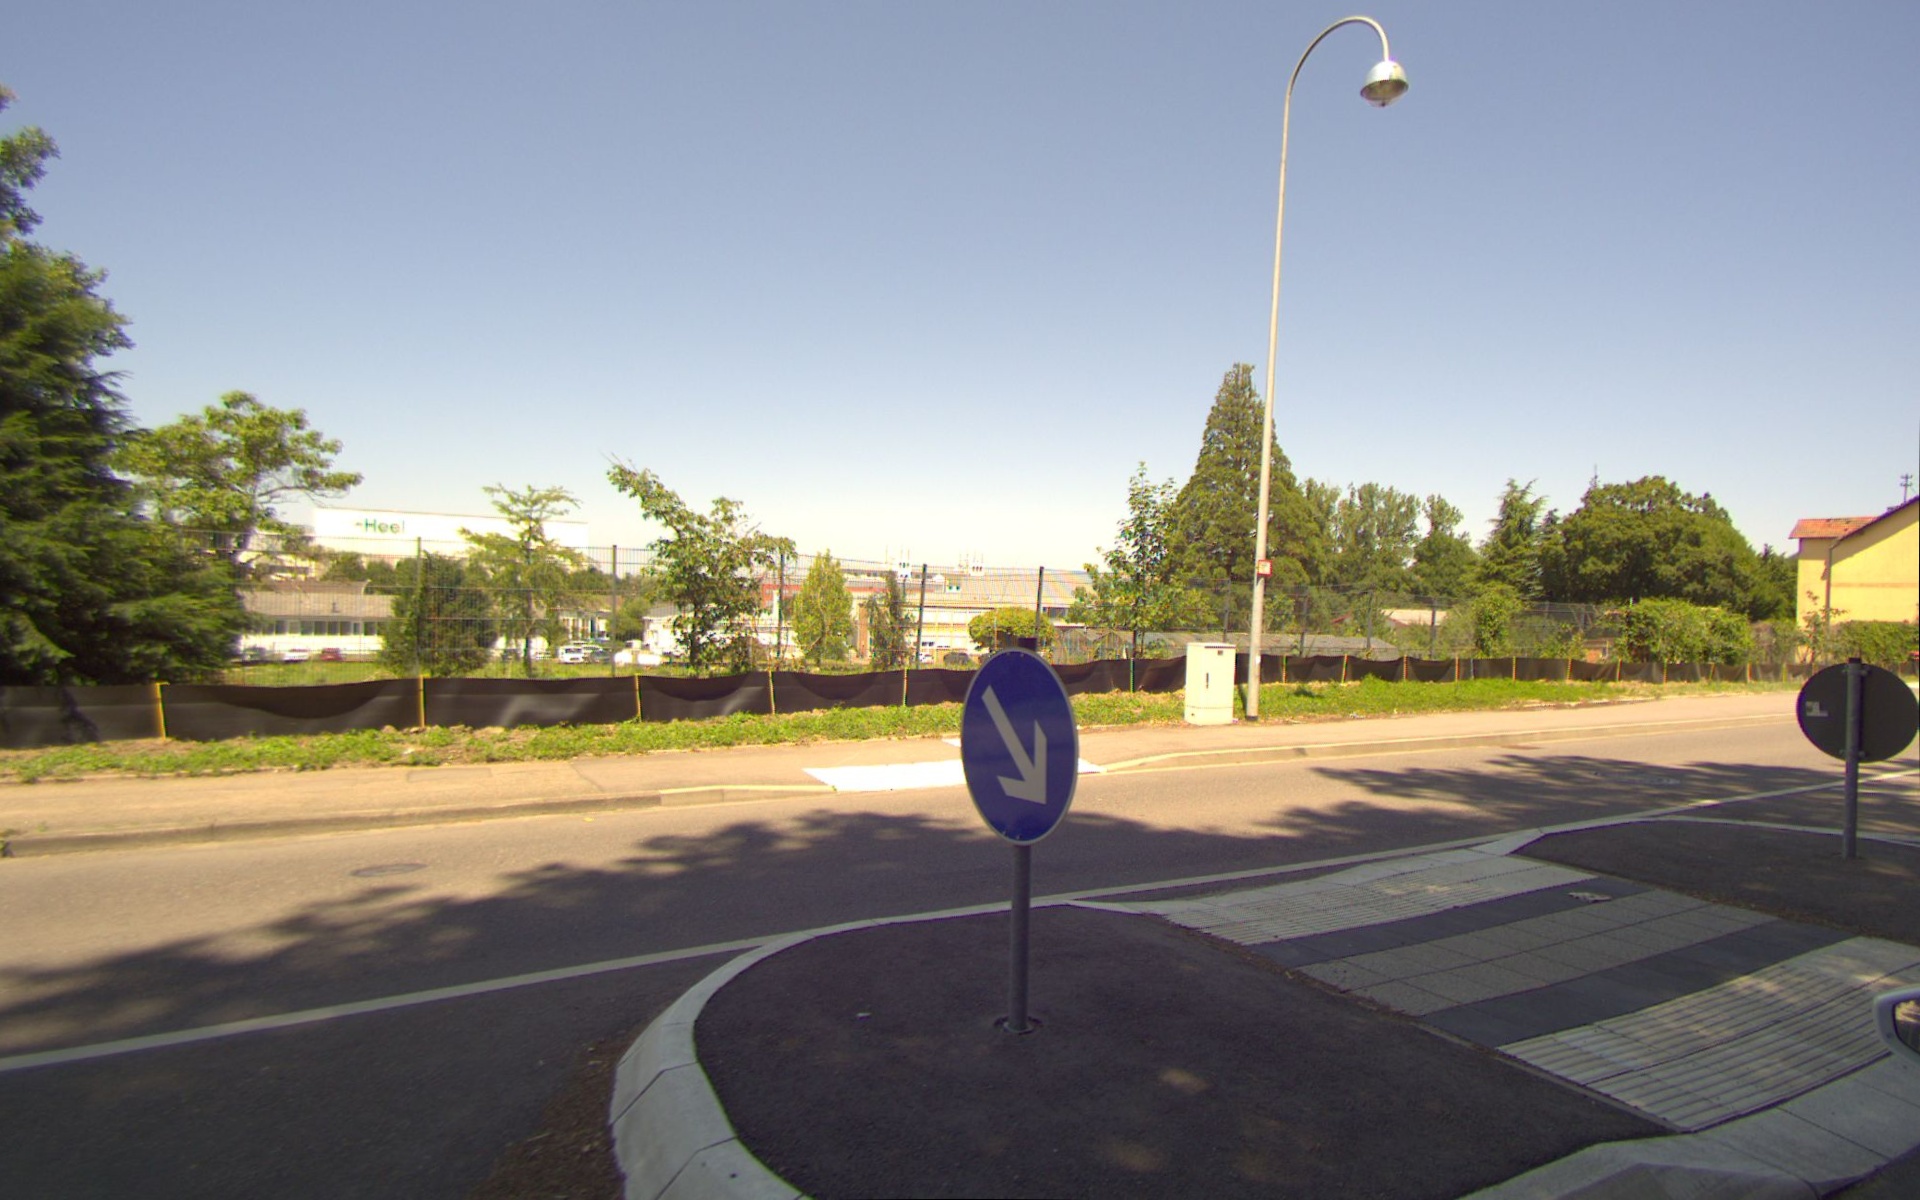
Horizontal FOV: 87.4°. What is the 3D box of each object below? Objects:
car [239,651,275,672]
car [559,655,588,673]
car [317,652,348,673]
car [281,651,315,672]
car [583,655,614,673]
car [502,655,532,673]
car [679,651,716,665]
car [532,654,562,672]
[{"bbox_3d":[-60.860,5.320,86.968,1.975,1.595,3.971,2,0,-27],"label":"car"},{"bbox_3d":[-38.157,6.269,99.126,1.979,1.528,3.964,2,-1,-33],"label":"car"},{"bbox_3d":[-55.854,5.586,89.486,1.975,1.595,3.971,2,0,-27],"label":"car"},{"bbox_3d":[-58.212,5.411,88.384,1.975,1.595,3.971,2,0,-27],"label":"car"},{"bbox_3d":[-35.962,6.345,99.855,1.979,1.528,3.964,2,-1,-33],"label":"car"},{"bbox_3d":[-42.519,6.090,96.343,1.979,1.528,3.964,2,-1,-33],"label":"car"},{"bbox_3d":[-30.548,6.784,116.816,3.945,1.528,1.988,2,-1,-25],"label":"car"},{"bbox_3d":[-40.486,6.183,98.419,1.979,1.528,3.964,2,-1,-33],"label":"car"}]
